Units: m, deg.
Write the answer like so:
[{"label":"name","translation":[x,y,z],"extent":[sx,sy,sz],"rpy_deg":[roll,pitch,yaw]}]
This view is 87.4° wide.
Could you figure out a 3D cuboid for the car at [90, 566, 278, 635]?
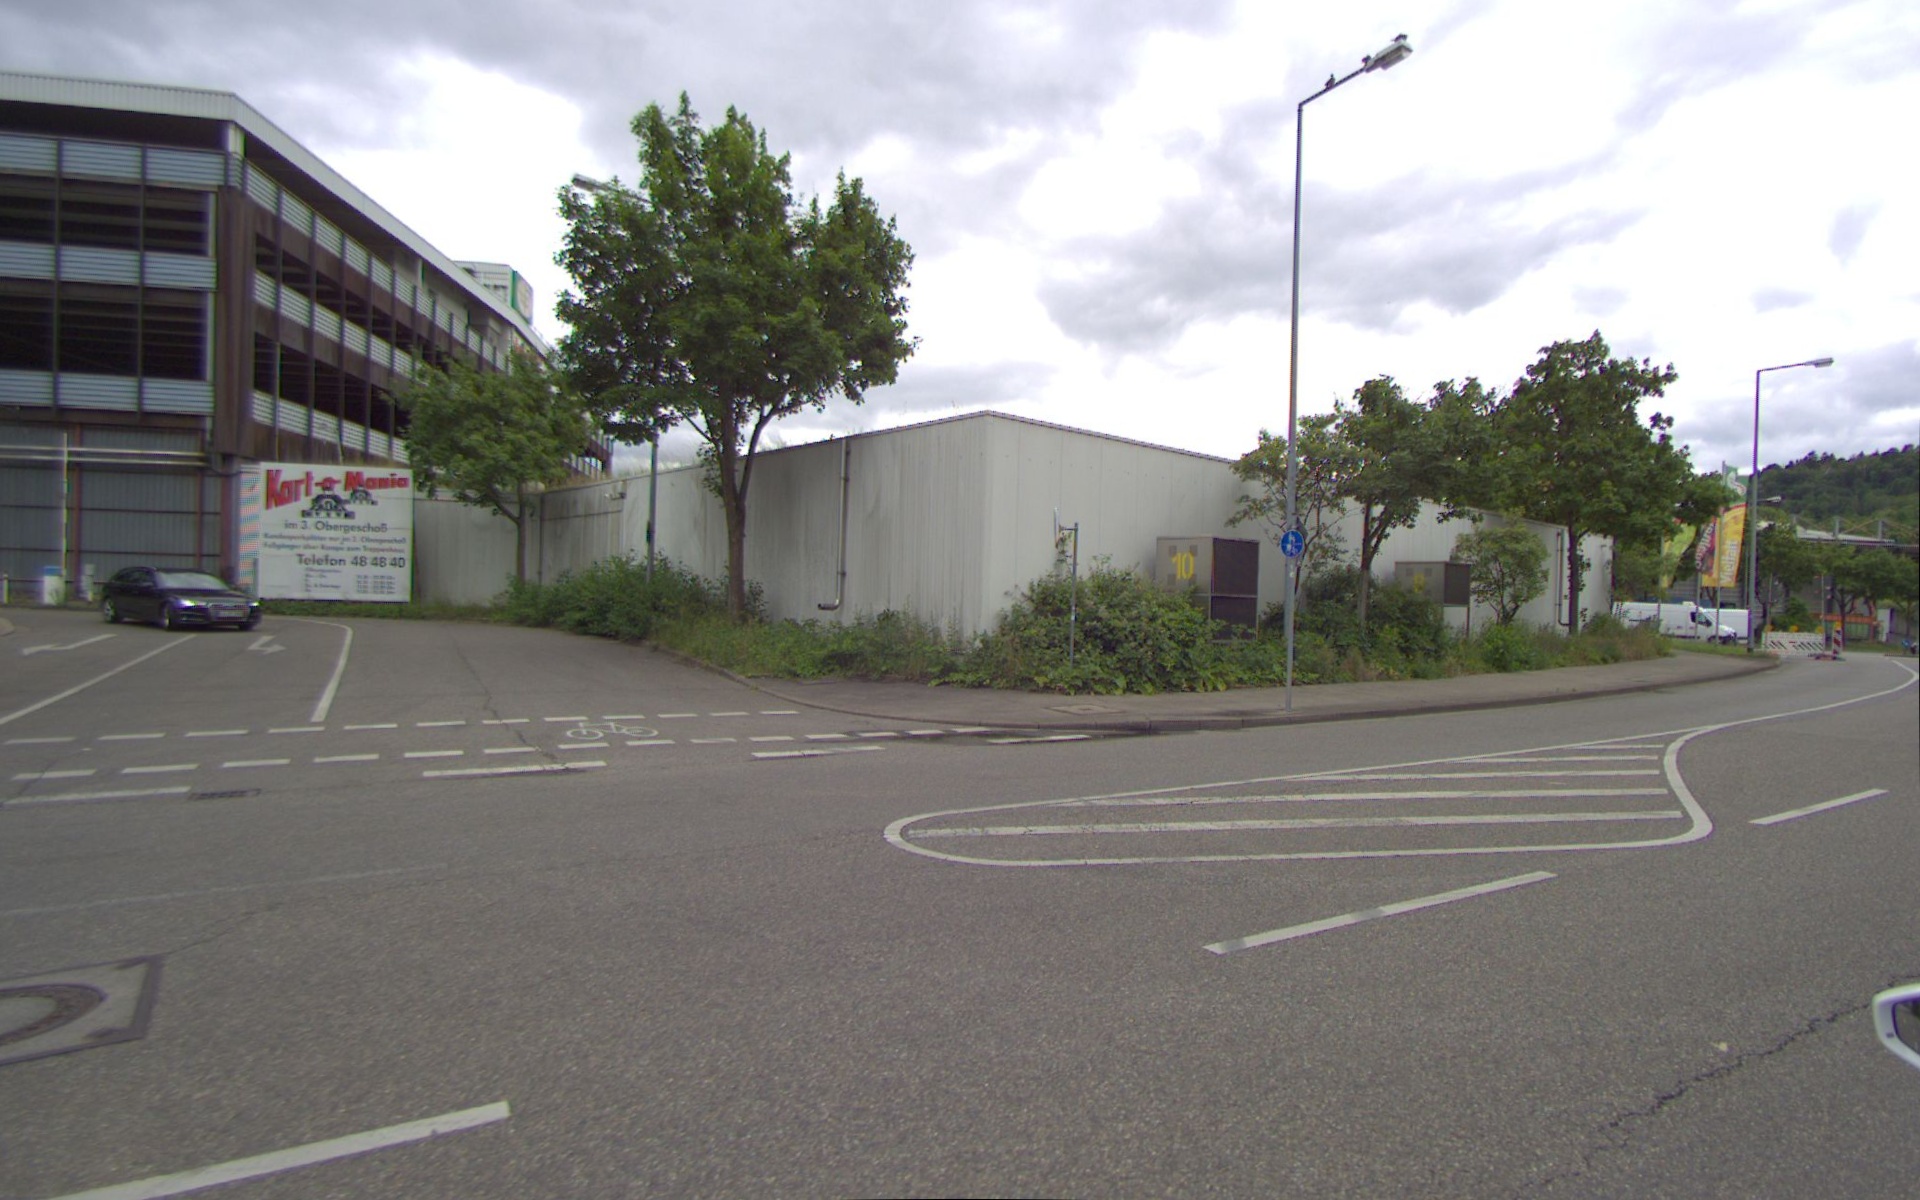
[{"label":"car","translation":[-18.764,-0.009,24.279],"extent":[4.305,1.427,1.800],"rpy_deg":[3,1,25]}]

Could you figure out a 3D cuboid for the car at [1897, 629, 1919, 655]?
[{"label":"car","translation":[77.663,3.408,80.593],"extent":[4.069,2.040,1.991],"rpy_deg":[2,1,-20]}]

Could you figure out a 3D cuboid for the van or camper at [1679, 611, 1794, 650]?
[{"label":"van or camper","translation":[53.646,2.080,69.437],"extent":[6.527,2.357,2.013],"rpy_deg":[3,0,-5]}]

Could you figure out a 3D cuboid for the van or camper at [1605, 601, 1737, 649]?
[{"label":"van or camper","translation":[41.764,1.437,59.135],"extent":[5.922,2.276,2.382],"rpy_deg":[5,2,44]}]
